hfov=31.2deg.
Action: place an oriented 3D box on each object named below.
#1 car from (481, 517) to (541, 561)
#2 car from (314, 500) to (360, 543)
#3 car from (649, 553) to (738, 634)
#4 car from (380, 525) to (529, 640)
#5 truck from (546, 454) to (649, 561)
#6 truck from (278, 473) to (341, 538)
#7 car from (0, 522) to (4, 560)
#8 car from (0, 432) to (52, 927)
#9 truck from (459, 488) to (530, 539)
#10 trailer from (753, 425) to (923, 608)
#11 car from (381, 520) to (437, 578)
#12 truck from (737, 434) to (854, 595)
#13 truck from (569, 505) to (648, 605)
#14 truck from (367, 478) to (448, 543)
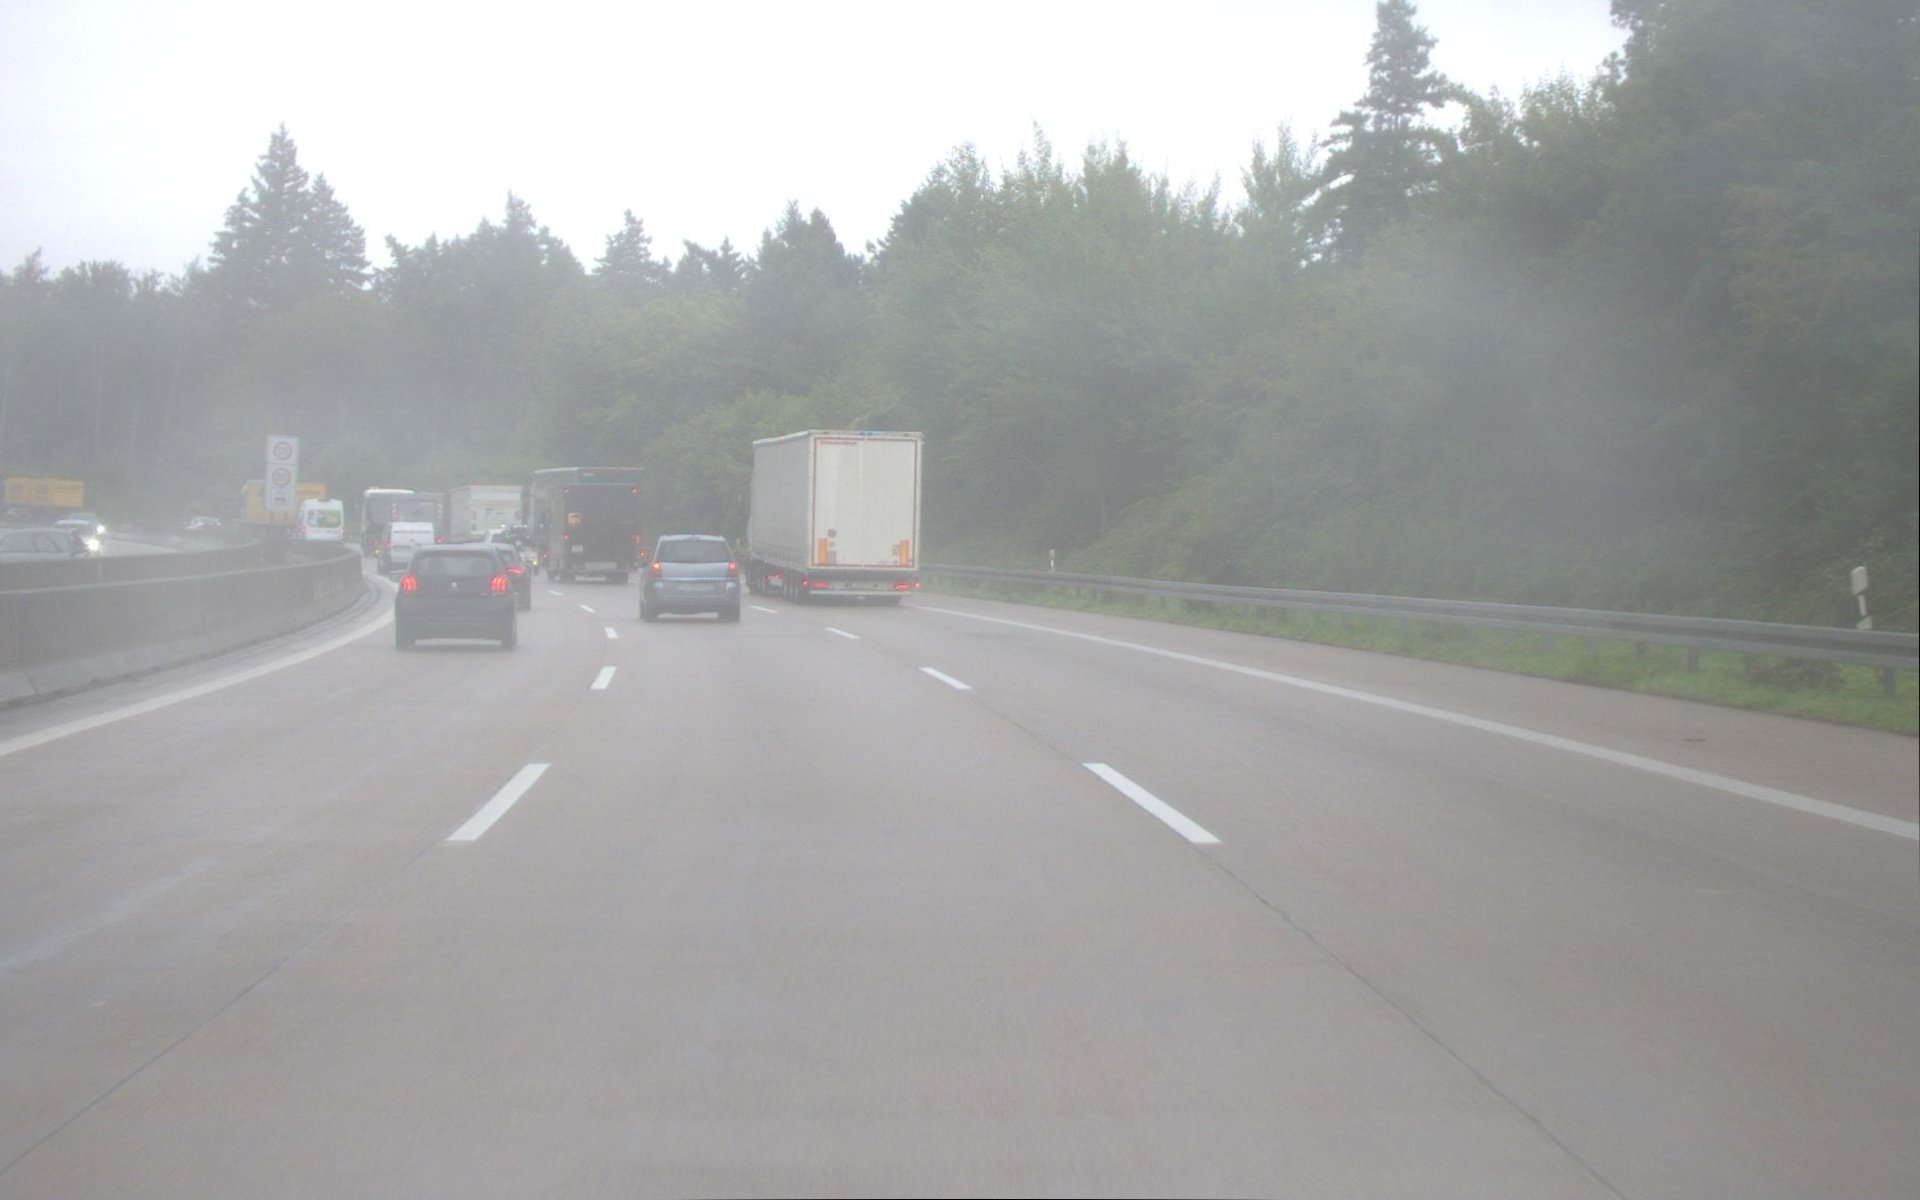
[{"bbox_3d":[-16.188,-2.221,124.120,1.881,1.468,4.001,2,1,-4],"label":"car"},{"bbox_3d":[-29.941,-3.765,165.099,1.993,2.052,4.001,0,1,-13],"label":"car"},{"bbox_3d":[-4.969,-0.136,63.921,1.553,1.347,3.684,2,1,-5],"label":"car"},{"bbox_3d":[-6.998,-0.269,47.849,1.683,1.457,3.684,2,1,-4],"label":"car"},{"bbox_3d":[-14.669,-3.742,138.345,3.368,4.117,10.441,1,2,-10],"label":"truck"},{"bbox_3d":[-42.547,-6.133,224.744,3.739,4.195,6.820,0,1,-13],"label":"truck"},{"bbox_3d":[-40.695,-2.433,142.020,1.730,1.570,4.245,0,1,-8],"label":"car"},{"bbox_3d":[-4.579,0.347,11.300,1.907,1.938,6.163,0,1,-3],"label":"car"},{"bbox_3d":[-23.022,-4.279,169.755,2.973,2.301,6.669,2,1,-11],"label":"truck"},{"bbox_3d":[-3.096,-2.052,82.925,2.419,4.054,12.058,1,2,-10],"label":"trailer"},{"bbox_3d":[-19.325,-1.799,120.710,1.725,2.007,3.657,0,1,-5],"label":"car"},{"bbox_3d":[-4.345,-2.240,89.993,2.419,4.054,4.980,1,2,-10],"label":"truck"},{"bbox_3d":[-11.087,-1.481,108.886,2.269,2.877,7.905,1,2,-5],"label":"truck"},{"bbox_3d":[-26.421,-4.325,164.173,3.081,2.895,7.906,1,2,-14],"label":"truck"}]
